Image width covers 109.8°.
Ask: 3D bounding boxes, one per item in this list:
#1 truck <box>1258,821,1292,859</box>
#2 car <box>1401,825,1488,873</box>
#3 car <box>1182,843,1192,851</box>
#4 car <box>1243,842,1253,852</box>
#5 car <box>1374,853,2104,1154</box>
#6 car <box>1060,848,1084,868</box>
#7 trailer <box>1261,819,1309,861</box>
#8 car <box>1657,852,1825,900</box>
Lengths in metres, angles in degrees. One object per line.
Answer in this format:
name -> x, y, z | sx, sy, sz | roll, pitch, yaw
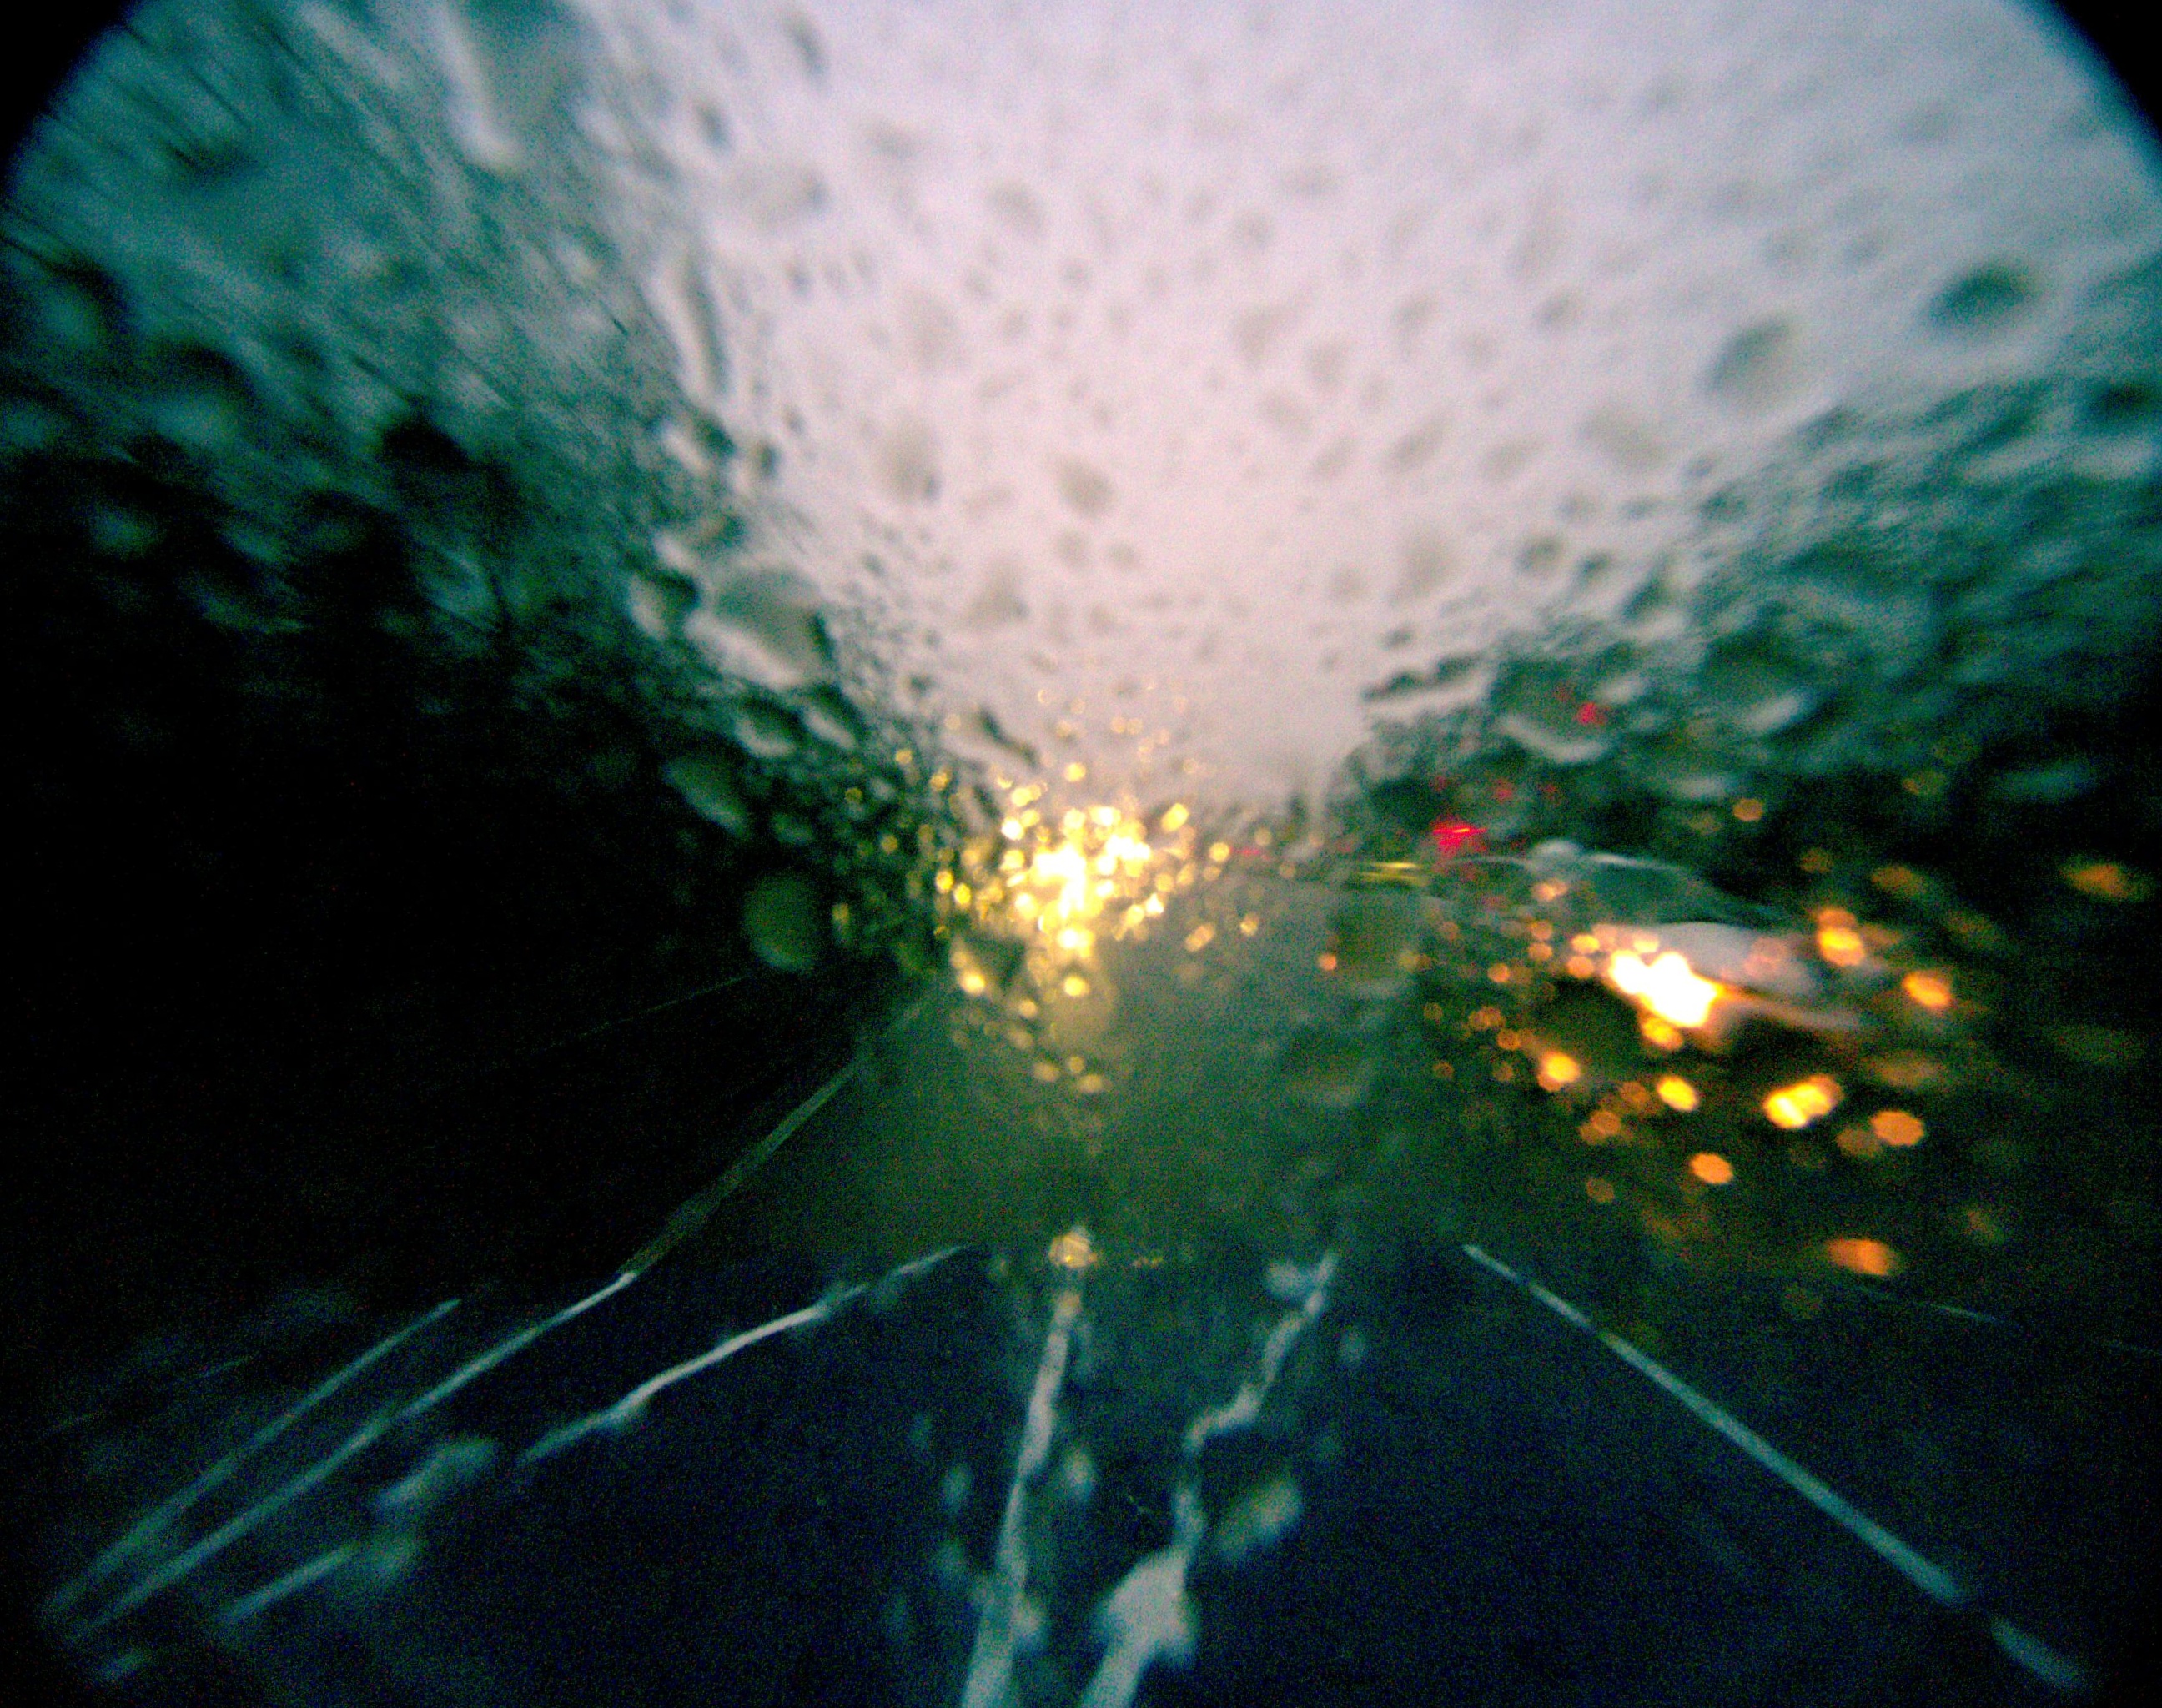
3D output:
truck -> 26.113, -1.869, 102.570 | 3.497, 4.820, 6.032 | -3, 1, 6
car -> 22.859, -0.346, 48.164 | 2.533, 2.715, 6.340 | -3, 1, 2
car -> 21.267, -1.364, 152.794 | 1.704, 1.556, 4.042 | -2, 1, 4
car -> 35.797, -1.410, 163.166 | 1.997, 2.002, 4.003 | -3, 1, 12
car -> 4.282, 0.765, 6.289 | 1.952, 1.511, 4.787 | 0, 1, 1
car -> -0.763, 0.304, 62.167 | 1.841, 1.553, 3.866 | -3, 1, -2
trailer -> 25.376, -1.751, 95.408 | 3.497, 4.819, 13.483 | -3, 1, 6
car -> 21.559, 0.652, 25.095 | 1.714, 1.314, 4.472 | -3, 1, 2
